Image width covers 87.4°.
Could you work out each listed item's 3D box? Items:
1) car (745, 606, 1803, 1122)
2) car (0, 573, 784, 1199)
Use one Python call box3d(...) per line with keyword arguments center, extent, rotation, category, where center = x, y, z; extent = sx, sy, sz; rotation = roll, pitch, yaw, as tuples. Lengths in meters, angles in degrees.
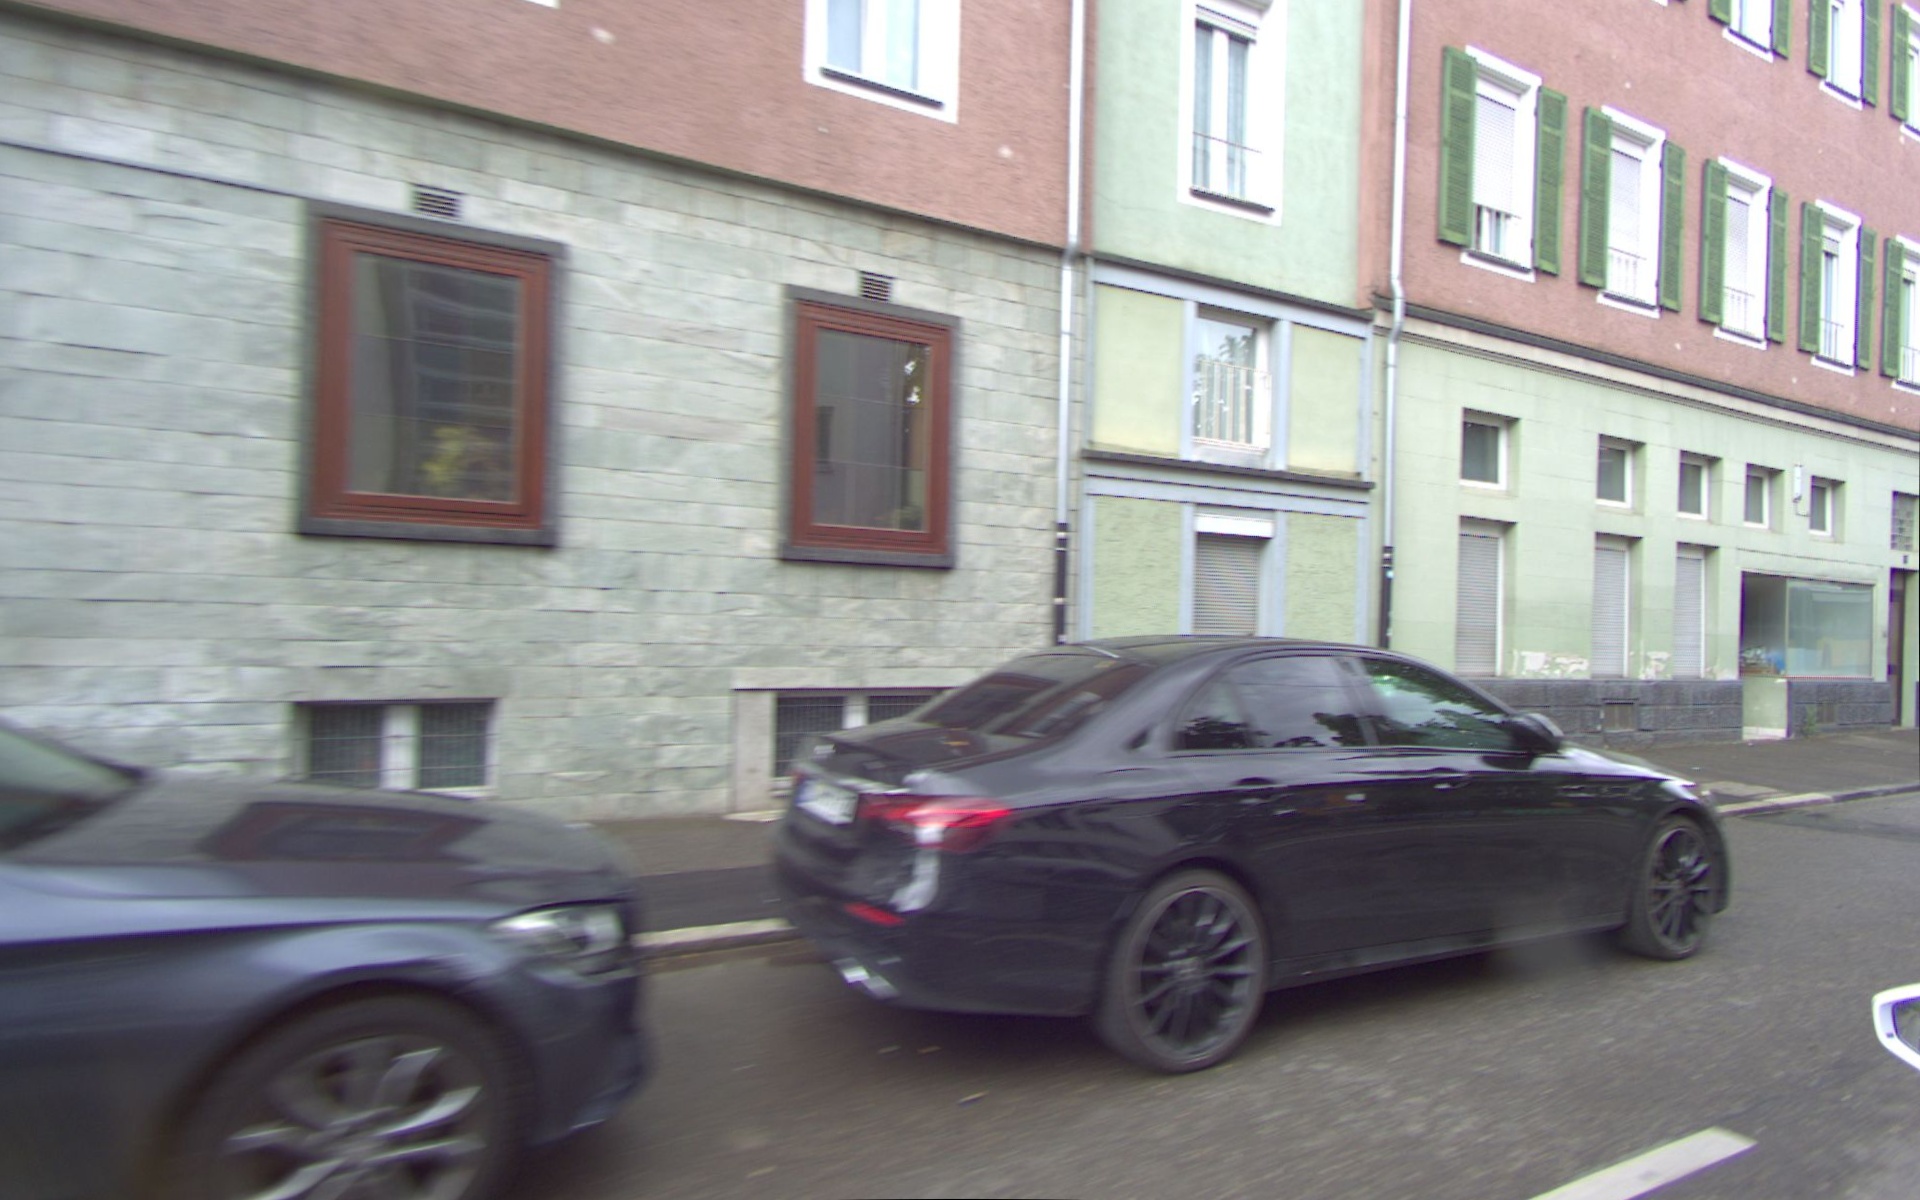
box3d(center=(1.622, 0.857, 4.768), extent=(4.856, 1.474, 1.823), rotation=(3, -1, -26), category="car")
box3d(center=(-2.863, 0.659, 2.163), extent=(4.532, 1.474, 1.820), rotation=(3, -1, -31), category="car")
